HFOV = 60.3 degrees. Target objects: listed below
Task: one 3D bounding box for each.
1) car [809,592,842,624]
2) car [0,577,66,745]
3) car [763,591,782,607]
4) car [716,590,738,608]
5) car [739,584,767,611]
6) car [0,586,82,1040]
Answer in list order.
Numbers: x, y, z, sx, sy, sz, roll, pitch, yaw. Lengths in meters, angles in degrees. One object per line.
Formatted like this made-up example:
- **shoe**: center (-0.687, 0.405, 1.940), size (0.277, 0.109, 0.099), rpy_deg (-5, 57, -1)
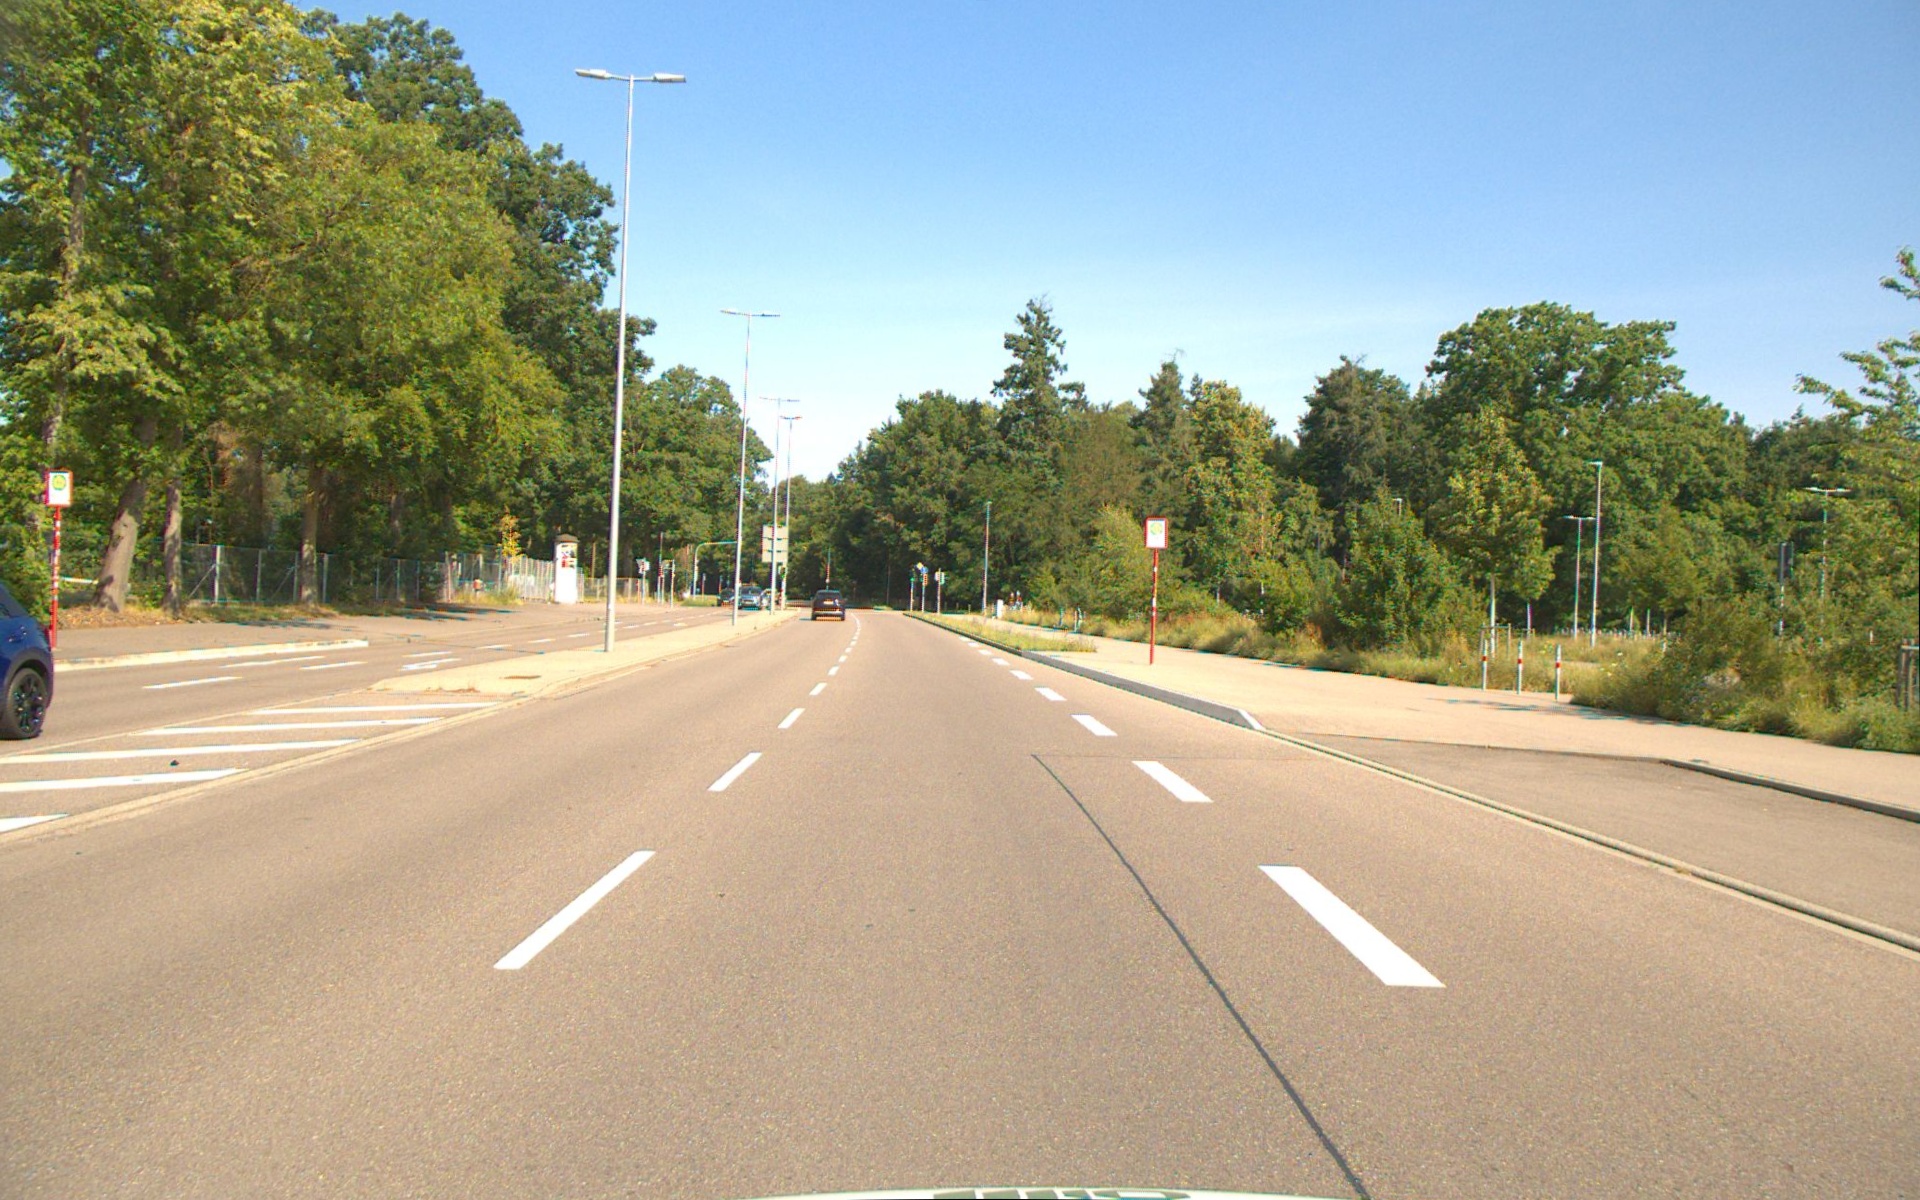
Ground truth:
- **car**: center (-7.186, 0.405, 88.201), size (1.655, 1.571, 4.144), rpy_deg (1, 0, -6)
- **car**: center (-9.469, 0.554, 14.052), size (1.718, 1.512, 3.945), rpy_deg (0, 0, -2)
- **car**: center (-19.963, -0.118, 176.038), size (1.811, 1.646, 3.993), rpy_deg (3, 0, -7)
- **car**: center (-21.119, -0.089, 149.840), size (1.759, 1.504, 3.995), rpy_deg (2, 0, -5)
- **car**: center (-15.746, -0.217, 125.831), size (1.805, 1.966, 4.625), rpy_deg (1, 0, -4)
- **car**: center (-3.899, 0.686, 3.396), size (1.690, 1.451, 4.719), rpy_deg (1, 0, 0)
